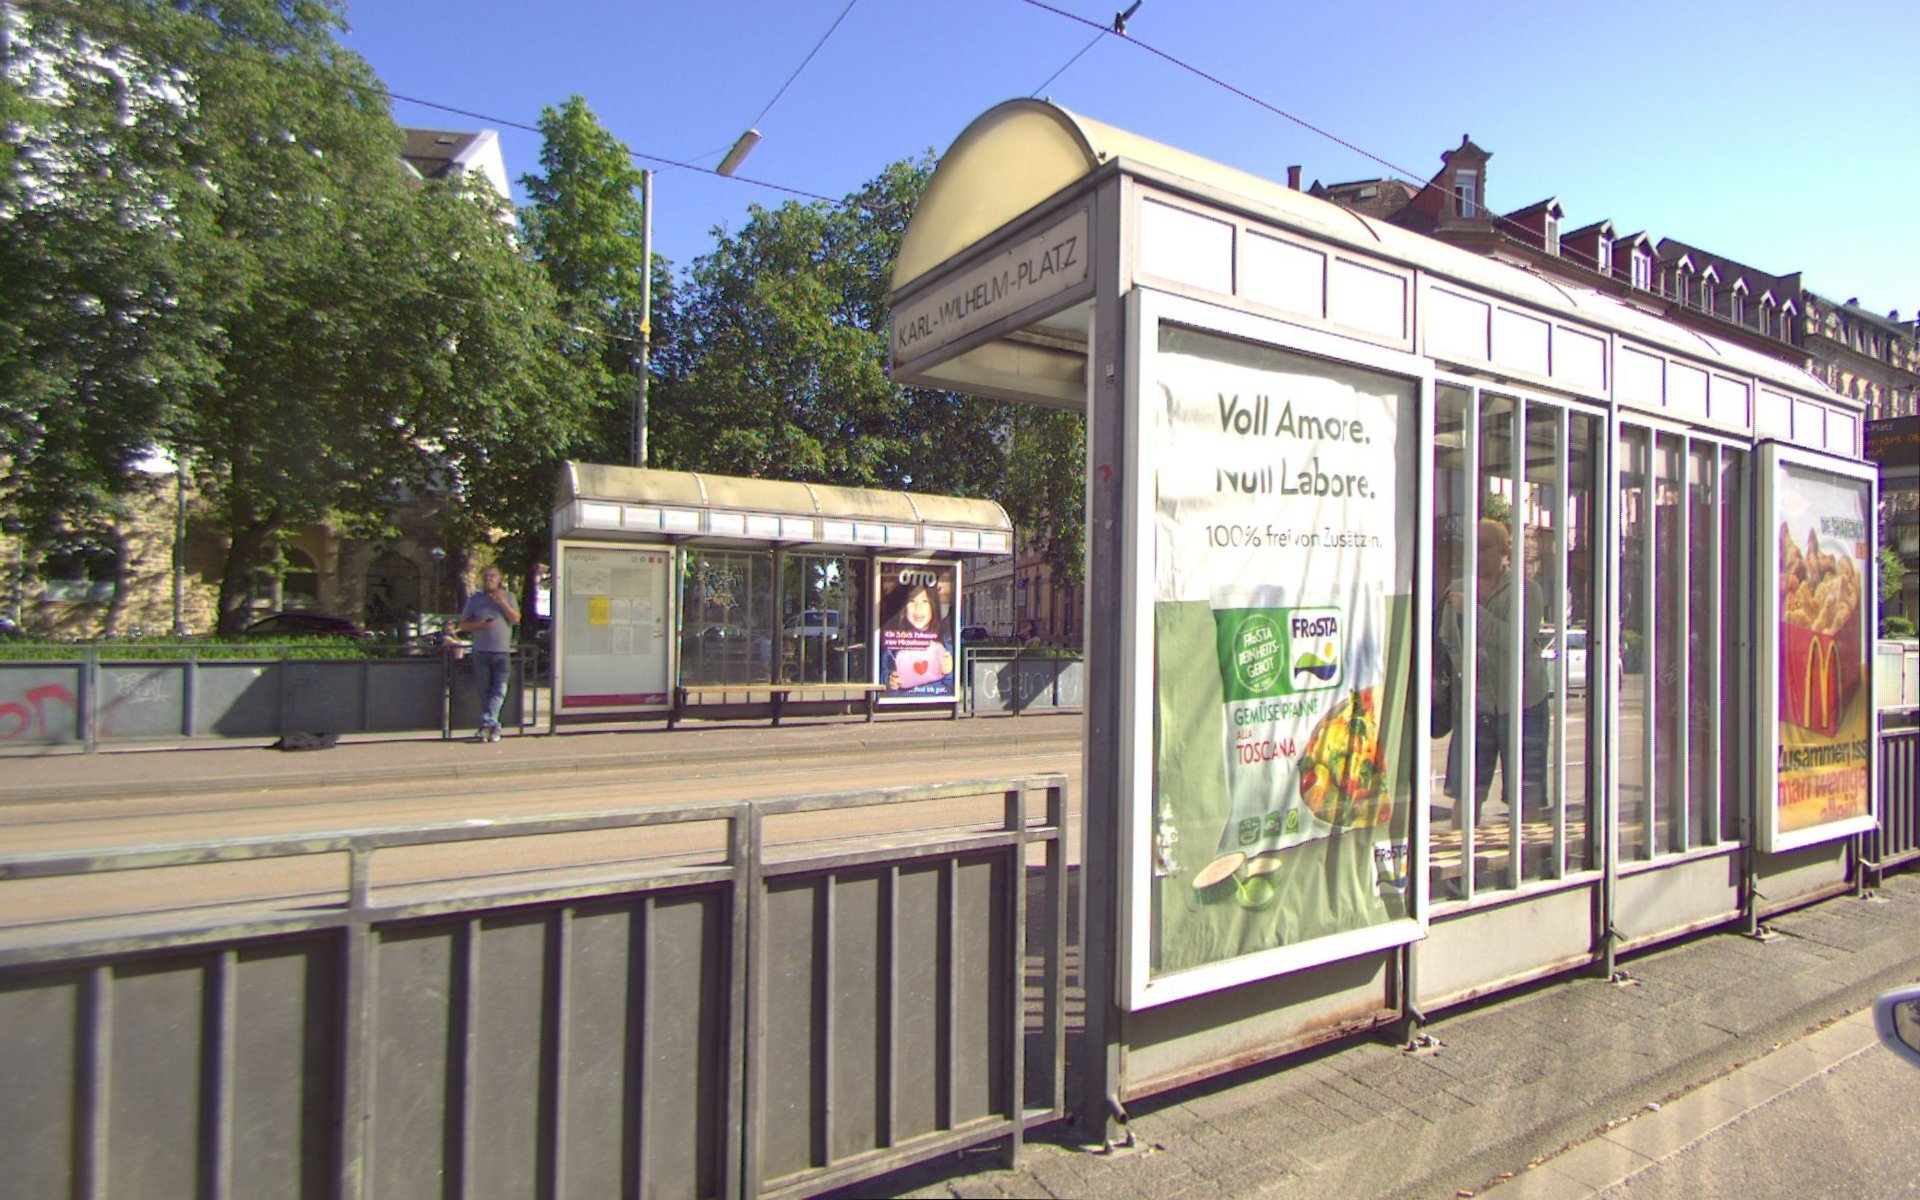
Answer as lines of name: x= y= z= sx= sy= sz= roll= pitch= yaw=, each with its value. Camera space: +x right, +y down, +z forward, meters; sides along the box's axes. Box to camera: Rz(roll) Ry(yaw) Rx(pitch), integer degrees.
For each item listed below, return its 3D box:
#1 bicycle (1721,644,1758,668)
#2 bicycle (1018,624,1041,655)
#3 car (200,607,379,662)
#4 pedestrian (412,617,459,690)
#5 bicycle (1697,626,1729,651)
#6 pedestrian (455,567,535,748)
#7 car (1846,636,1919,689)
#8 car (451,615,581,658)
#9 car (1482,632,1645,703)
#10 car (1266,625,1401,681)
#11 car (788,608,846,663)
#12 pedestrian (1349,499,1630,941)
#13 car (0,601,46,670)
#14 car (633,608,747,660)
bicycle: x=30.243 y=2.175 z=38.974 sx=1.918 sy=0.938 sz=0.340 roll=2 pitch=0 yaw=-27
bicycle: x=2.482 y=1.402 z=35.945 sx=0.564 sy=1.006 sz=1.548 roll=2 pitch=0 yaw=-5
car: x=-16.525 y=0.849 z=24.847 sx=1.507 sy=1.231 sz=3.436 roll=2 pitch=0 yaw=44
pedestrian: x=-9.695 y=0.974 z=18.551 sx=0.716 sy=1.298 sz=0.654 roll=2 pitch=0 yaw=-31
bicycle: x=28.621 y=1.473 z=38.174 sx=1.433 sy=0.938 sz=0.340 roll=2 pitch=0 yaw=-27
pedestrian: x=-4.801 y=0.583 z=10.369 sx=0.666 sy=1.808 sz=0.462 roll=2 pitch=-1 yaw=-32
car: x=31.100 y=2.052 z=32.945 sx=4.217 sy=1.639 sz=1.888 roll=2 pitch=-3 yaw=-32
car: x=-12.706 y=1.036 z=28.809 sx=3.119 sy=1.110 sz=1.452 roll=2 pitch=0 yaw=-40
car: x=14.599 y=1.596 z=24.273 sx=3.751 sy=1.560 sz=1.684 roll=2 pitch=0 yaw=-28
car: x=11.074 y=1.541 z=29.911 sx=1.566 sy=1.461 sz=3.416 roll=2 pitch=0 yaw=-40
car: x=-5.794 y=1.369 z=40.304 sx=1.892 sy=1.968 sz=4.845 roll=2 pitch=0 yaw=-13
pedestrian: x=2.540 y=0.518 z=4.856 sx=0.884 sy=1.897 sz=0.768 roll=2 pitch=1 yaw=-29
car: x=-20.265 y=0.684 z=19.801 sx=1.709 sy=1.348 sz=2.988 roll=2 pitch=0 yaw=34
car: x=-8.723 y=1.148 z=32.767 sx=1.705 sy=1.562 sz=4.019 roll=-1 pitch=-3 yaw=17
